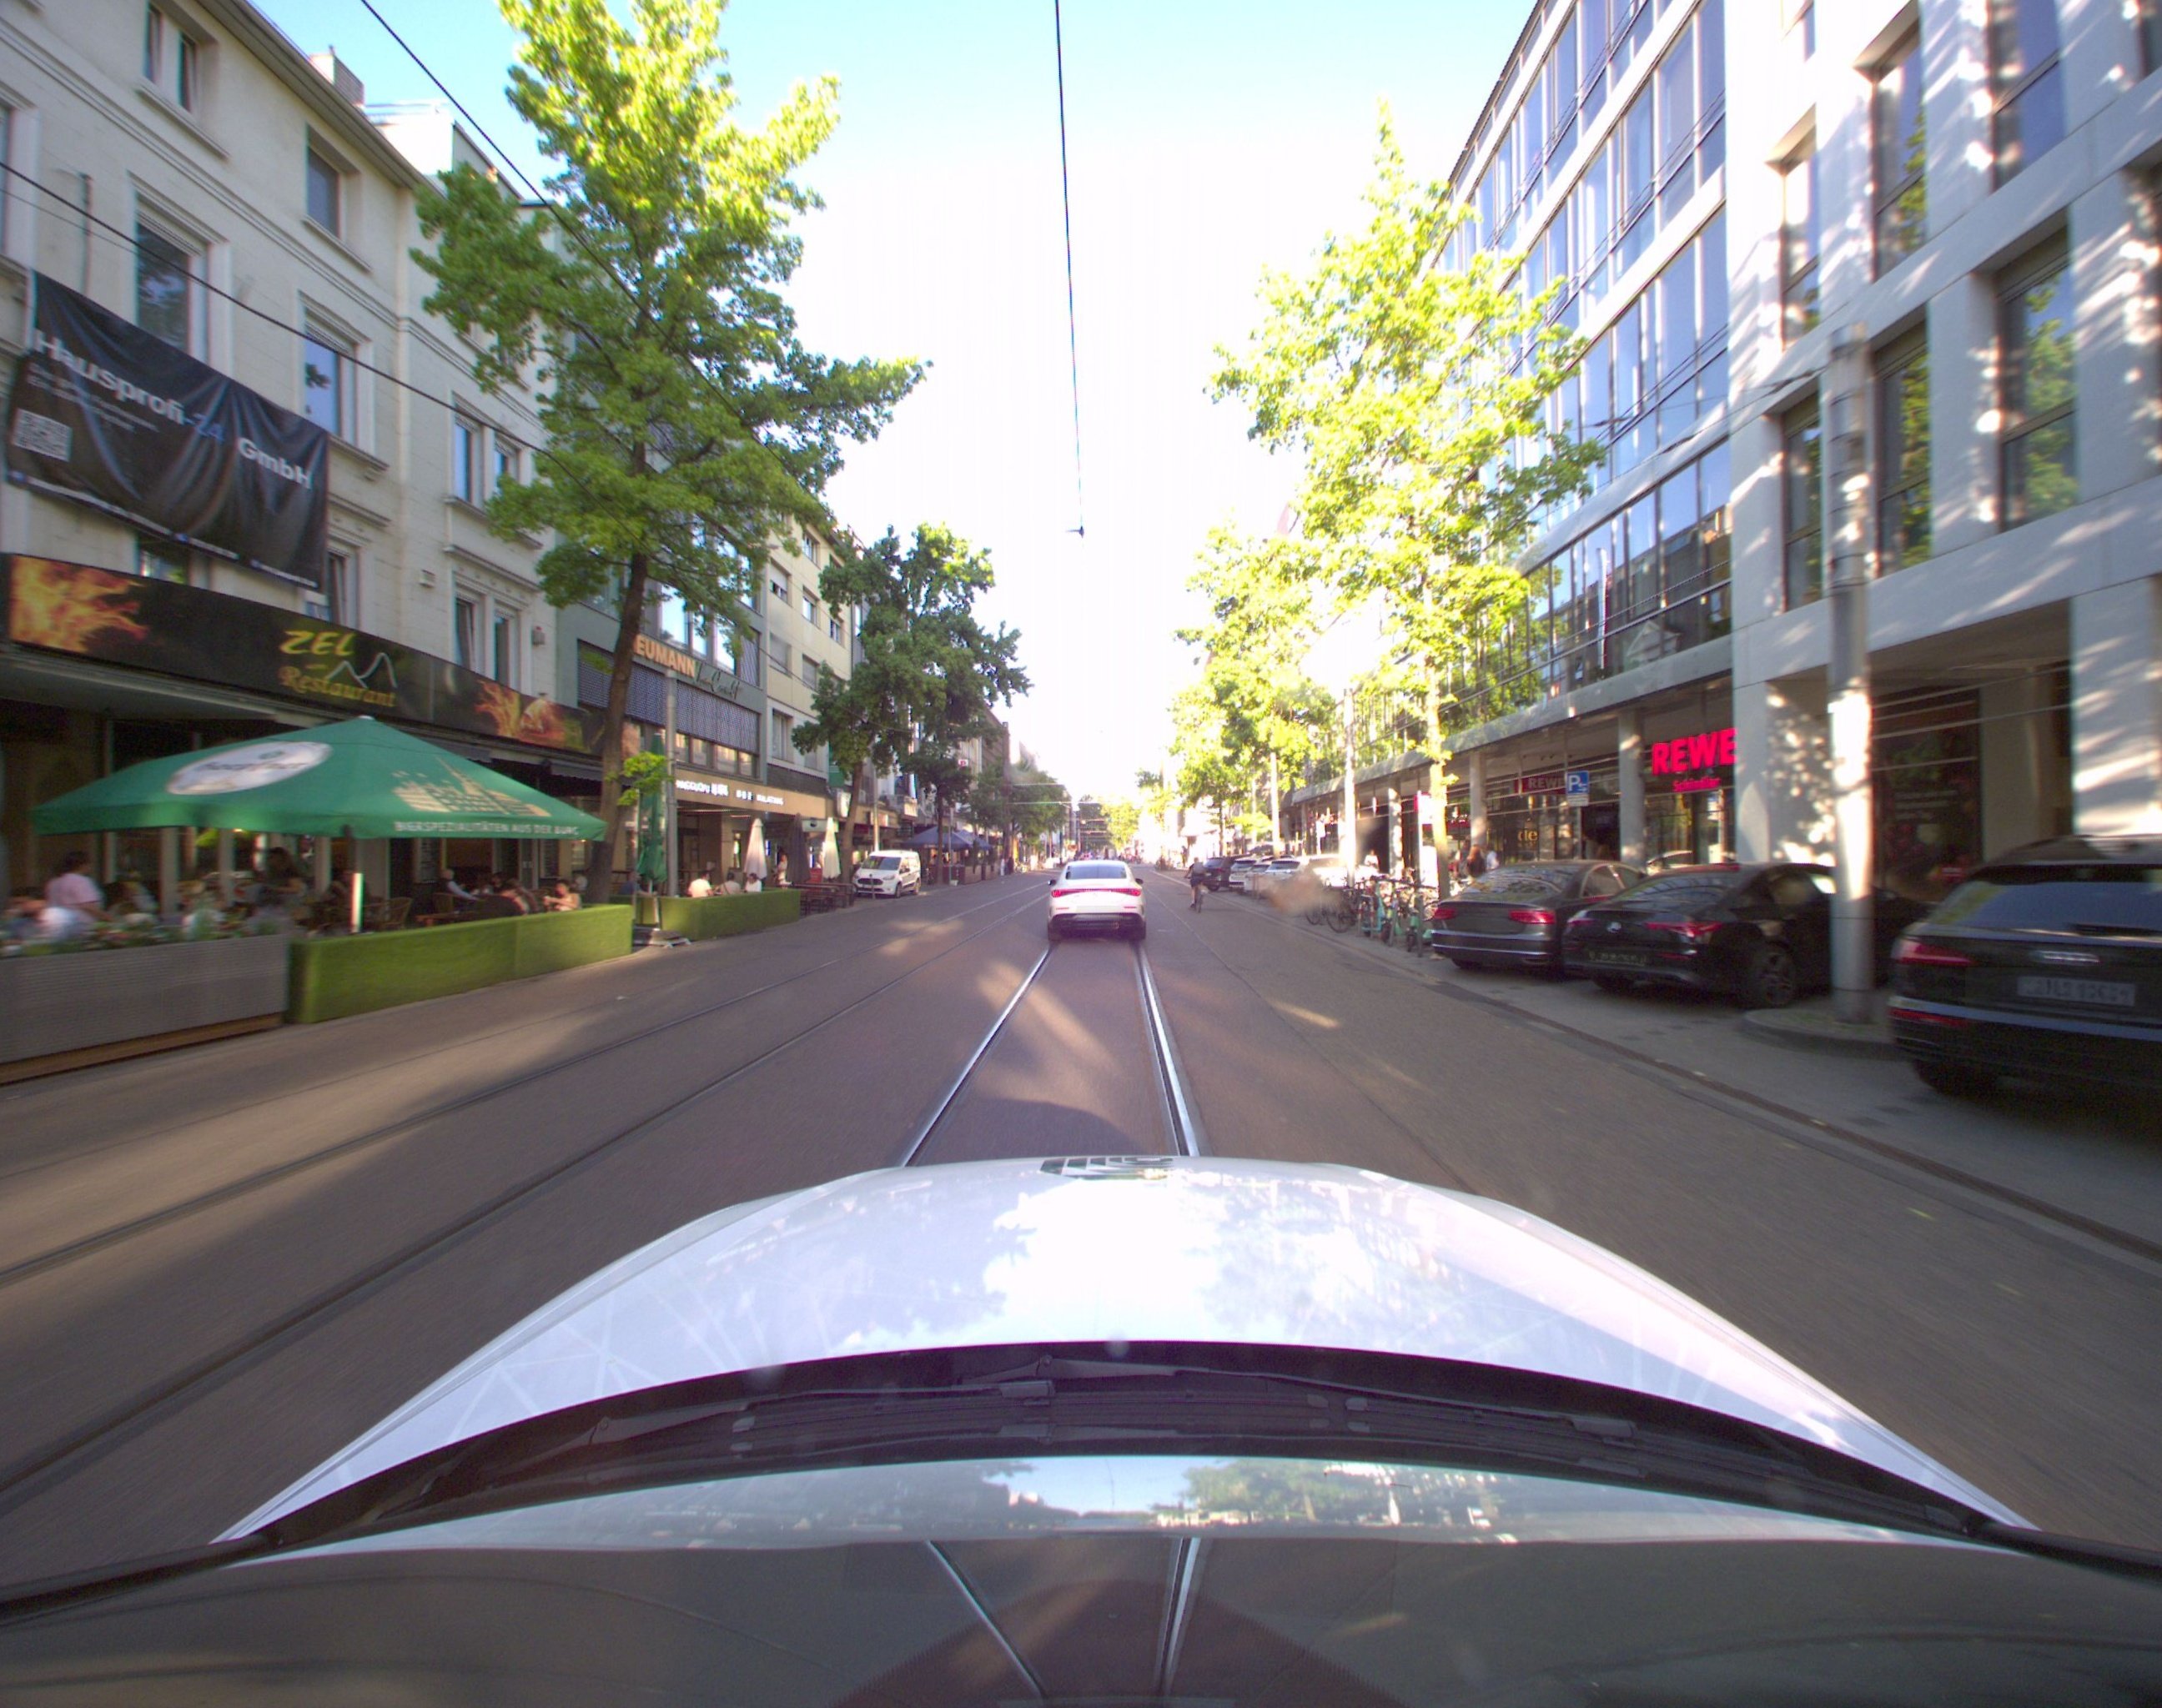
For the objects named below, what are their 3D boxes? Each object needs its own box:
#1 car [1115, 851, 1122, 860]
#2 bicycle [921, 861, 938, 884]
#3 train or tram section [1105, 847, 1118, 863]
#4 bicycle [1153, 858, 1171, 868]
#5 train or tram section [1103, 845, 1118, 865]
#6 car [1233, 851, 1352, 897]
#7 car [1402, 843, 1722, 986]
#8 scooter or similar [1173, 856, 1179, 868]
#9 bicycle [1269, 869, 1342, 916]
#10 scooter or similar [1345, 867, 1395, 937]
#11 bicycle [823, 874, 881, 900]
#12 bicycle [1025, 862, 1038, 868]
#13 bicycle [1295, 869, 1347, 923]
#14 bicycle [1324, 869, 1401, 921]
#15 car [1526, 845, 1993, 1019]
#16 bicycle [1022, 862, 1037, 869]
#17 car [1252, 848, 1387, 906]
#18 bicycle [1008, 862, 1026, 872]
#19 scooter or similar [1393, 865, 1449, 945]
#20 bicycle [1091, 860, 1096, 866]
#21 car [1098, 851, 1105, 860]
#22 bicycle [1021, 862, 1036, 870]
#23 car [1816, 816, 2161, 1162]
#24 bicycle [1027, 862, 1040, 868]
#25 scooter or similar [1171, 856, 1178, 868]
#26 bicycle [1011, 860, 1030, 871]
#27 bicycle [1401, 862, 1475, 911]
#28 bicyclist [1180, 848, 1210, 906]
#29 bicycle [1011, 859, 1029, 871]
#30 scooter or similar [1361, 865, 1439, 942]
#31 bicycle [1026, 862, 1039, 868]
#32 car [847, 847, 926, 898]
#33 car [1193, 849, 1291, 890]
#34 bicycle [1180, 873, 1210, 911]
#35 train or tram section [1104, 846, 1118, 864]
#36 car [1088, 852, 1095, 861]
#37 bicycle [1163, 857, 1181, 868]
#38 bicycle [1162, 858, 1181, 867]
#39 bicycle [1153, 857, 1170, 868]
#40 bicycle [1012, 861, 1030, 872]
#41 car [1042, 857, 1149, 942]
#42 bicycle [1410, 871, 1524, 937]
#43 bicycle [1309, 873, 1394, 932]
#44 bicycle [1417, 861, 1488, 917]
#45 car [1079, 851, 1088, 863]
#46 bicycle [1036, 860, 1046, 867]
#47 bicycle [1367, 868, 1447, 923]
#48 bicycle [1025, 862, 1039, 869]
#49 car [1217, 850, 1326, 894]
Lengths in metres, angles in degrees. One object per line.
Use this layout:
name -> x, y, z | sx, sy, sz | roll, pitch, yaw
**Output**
car -> 11.846, 0.447, 259.135 | 2.091, 2.897, 5.288 | -1, 0, 3
bicycle -> -8.178, 1.000, 44.027 | 0.699, 1.121, 2.076 | 2, 0, -15
train or tram section -> 6.793, 0.266, 181.993 | 2.684, 3.516, 11.149 | -1, 0, 2
bicycle -> 9.940, 1.102, 99.858 | 2.113, 1.096, 0.608 | 0, -1, -9
train or tram section -> 5.784, 0.198, 157.606 | 2.684, 3.516, 12.551 | -1, 0, 2
car -> 8.116, 0.753, 31.238 | 4.163, 1.499, 1.676 | -3, 0, -22
car -> 7.122, 0.733, 11.849 | 5.082, 1.469, 1.956 | -3, 0, -34
scooter or similar -> 10.699, 0.869, 91.466 | 0.491, 1.277, 0.658 | -3, 0, -9
bicycle -> 6.012, 1.016, 21.783 | 1.901, 1.119, 0.661 | -3, -1, -27
scooter or similar -> 5.666, 0.912, 16.034 | 0.449, 1.276, 1.307 | -4, -1, 1
bicycle -> -8.249, 1.191, 29.416 | 0.826, 0.865, 1.872 | 1, 0, 40
bicycle -> -5.882, 1.323, 96.877 | 1.486, 0.783, 0.345 | 1, 0, 3
bicycle -> 5.854, 1.004, 19.804 | 0.475, 1.163, 1.705 | -5, -1, 41
bicycle -> 6.753, 0.967, 19.528 | 1.697, 1.106, 0.627 | -4, -1, -24
car -> 7.662, 0.735, 9.245 | 4.666, 1.426, 1.921 | -3, -1, -19
bicycle -> -5.573, 1.252, 88.210 | 1.486, 0.783, 0.345 | 1, 0, 3
car -> 7.771, 0.718, 26.448 | 4.174, 1.571, 1.836 | -3, 0, -31
bicycle -> -6.028, 1.225, 76.918 | 1.586, 0.930, 0.378 | 1, 0, 8
scooter or similar -> 5.961, 0.873, 14.250 | 0.452, 1.276, 1.315 | -5, -1, 39
bicycle -> 2.325, 1.600, 148.911 | 0.797, 1.142, 2.257 | 1, 0, 1
car -> 6.656, 0.484, 258.967 | 2.091, 2.897, 5.278 | -1, 0, 3
bicycle -> -5.633, 1.245, 87.539 | 1.486, 0.841, 0.345 | 1, 0, 3
car -> 7.356, 0.597, 5.268 | 4.671, 1.655, 1.994 | -3, 0, -22
bicycle -> -5.697, 1.318, 97.604 | 1.486, 0.783, 0.345 | 1, 0, 3
scooter or similar -> 10.558, 0.895, 92.112 | 0.527, 1.277, 0.658 | -3, 0, -9
bicycle -> -5.905, 1.159, 79.706 | 1.784, 1.077, 0.377 | 1, 0, -2
bicycle -> 9.133, 0.816, 20.822 | 1.780, 1.106, 0.627 | -4, -1, -24
bicyclist -> 3.276, 0.656, 23.326 | 0.772, 1.613, 0.915 | 1, 0, 11
bicycle -> -6.283, 1.131, 83.945 | 1.838, 1.141, 0.377 | 1, 0, 3
scooter or similar -> 5.901, 0.898, 15.071 | 1.311, 1.276, 0.559 | -4, -1, -30
bicycle -> -5.744, 1.323, 97.236 | 1.486, 0.783, 0.345 | 1, 0, 3
car -> -7.744, 0.709, 32.922 | 1.788, 1.864, 4.557 | 2, 0, 3
car -> 7.495, 0.696, 37.902 | 4.369, 1.652, 1.678 | -3, 0, -29
bicycle -> 3.320, 1.065, 23.589 | 0.714, 0.995, 2.065 | 1, 0, 11
train or tram section -> 6.307, 0.230, 170.156 | 2.684, 3.516, 12.551 | -1, 0, 2
car -> 2.955, 0.818, 226.995 | 1.902, 2.461, 5.278 | -1, 0, 3
bicycle -> 10.746, 0.998, 96.039 | 1.908, 1.156, 0.608 | -2, -1, -9
bicycle -> 11.020, 1.057, 99.159 | 2.114, 1.096, 0.607 | -1, -1, -11
bicycle -> 9.577, 0.984, 96.882 | 1.908, 1.281, 0.608 | -2, -1, -9
bicycle -> -5.916, 1.192, 80.162 | 1.784, 1.077, 0.377 | 1, 0, -2
car -> 0.330, 0.794, 16.181 | 1.850, 1.455, 4.177 | 0, 0, 2
bicycle -> 7.091, 0.903, 15.061 | 0.554, 1.107, 1.830 | -3, 0, -33
bicycle -> 5.839, 1.025, 17.588 | 1.567, 1.088, 0.861 | -4, 1, -28
bicycle -> 8.618, 0.790, 18.908 | 1.273, 1.173, 0.860 | -4, 1, -29
car -> 0.712, 0.698, 208.258 | 1.985, 2.897, 5.278 | -1, 0, 3
bicycle -> -5.899, 1.436, 120.223 | 0.713, 1.010, 2.048 | -1, 0, 16
bicycle -> 7.372, 0.919, 18.415 | 1.679, 1.074, 0.726 | -4, 1, -28
bicycle -> -5.366, 1.258, 88.856 | 1.486, 0.783, 0.345 | 1, 0, 3
car -> 7.957, 0.728, 33.950 | 4.261, 1.587, 1.866 | -3, 0, -29
